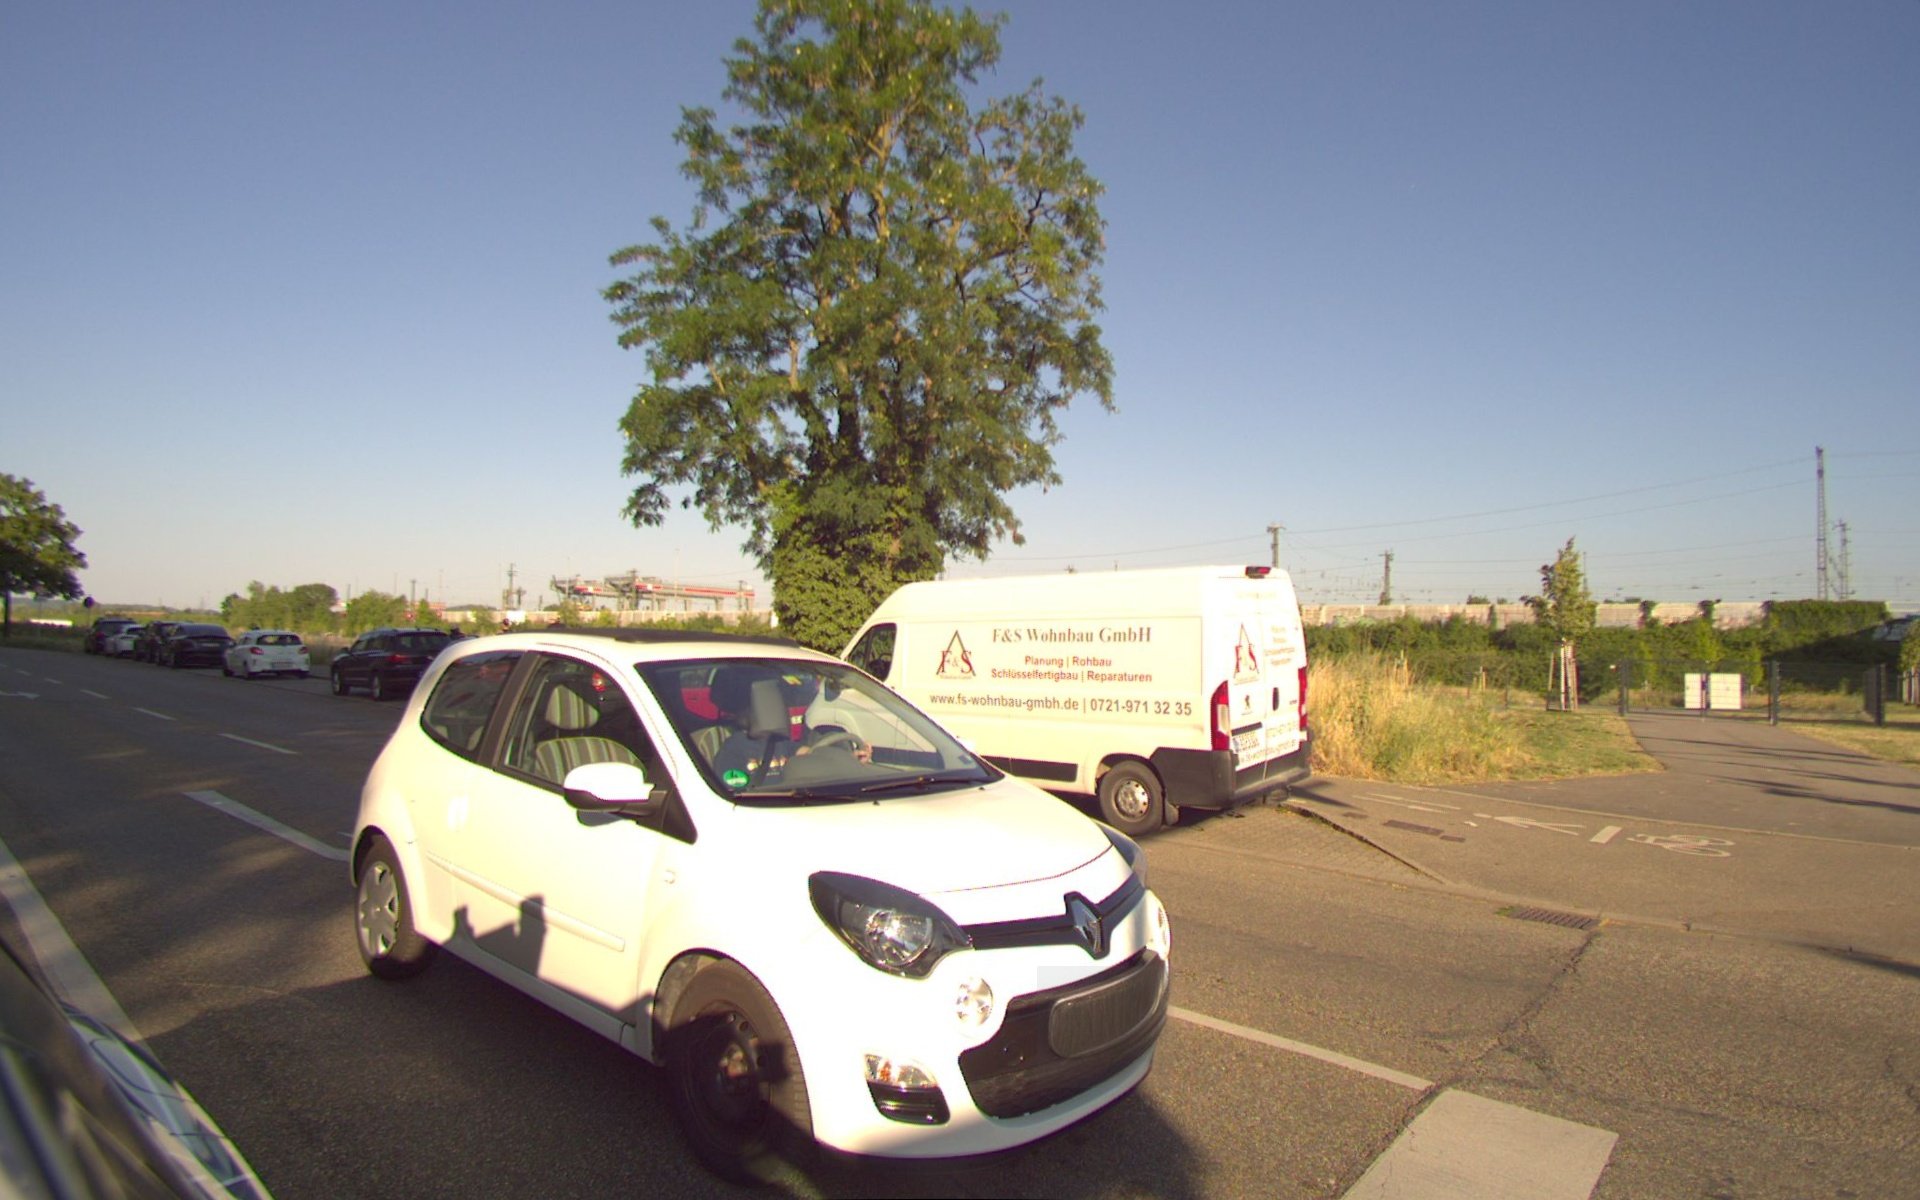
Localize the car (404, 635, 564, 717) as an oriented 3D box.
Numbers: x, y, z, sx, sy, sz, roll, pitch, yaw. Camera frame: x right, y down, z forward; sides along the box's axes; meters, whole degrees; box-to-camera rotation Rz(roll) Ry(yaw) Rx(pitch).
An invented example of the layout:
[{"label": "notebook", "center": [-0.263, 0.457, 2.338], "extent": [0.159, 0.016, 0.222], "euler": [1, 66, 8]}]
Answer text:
[{"label": "car", "center": [-10.009, 1.549, 21.198], "extent": [3.577, 1.541, 1.642], "euler": [-1, -4, 40]}]

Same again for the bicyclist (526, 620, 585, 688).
[{"label": "bicyclist", "center": [-9.838, 1.313, 24.621], "extent": [1.145, 1.609, 0.855], "euler": [-1, -4, 41]}]

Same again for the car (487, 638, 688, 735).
[{"label": "car", "center": [-6.794, 1.497, 18.319], "extent": [3.814, 1.541, 1.723], "euler": [-1, -4, 40]}]

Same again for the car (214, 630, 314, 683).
[{"label": "car", "center": [-21.552, 1.735, 31.295], "extent": [3.582, 1.538, 1.684], "euler": [-1, -4, 42]}]

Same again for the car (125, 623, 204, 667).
[{"label": "car", "center": [-32.375, 1.817, 41.154], "extent": [4.219, 1.650, 1.799], "euler": [-1, -4, 43]}]

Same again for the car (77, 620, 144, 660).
[{"label": "car", "center": [-40.831, 1.901, 48.613], "extent": [4.219, 1.789, 1.866], "euler": [-1, -4, 43]}]

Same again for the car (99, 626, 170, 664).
[{"label": "car", "center": [-36.461, 1.957, 44.665], "extent": [4.219, 1.586, 1.799], "euler": [-1, -4, 43]}]

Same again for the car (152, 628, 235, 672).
[{"label": "car", "center": [-28.226, 1.820, 37.232], "extent": [1.798, 1.538, 4.292], "euler": [5, -4, -45]}]

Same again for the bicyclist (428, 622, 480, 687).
[{"label": "bicyclist", "center": [-12.921, 1.392, 25.845], "extent": [1.146, 1.609, 0.758], "euler": [-1, -4, 43]}]

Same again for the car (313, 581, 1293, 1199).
[{"label": "car", "center": [-0.867, 0.774, 3.942], "extent": [3.772, 1.480, 1.683], "euler": [-1, -4, 40]}]

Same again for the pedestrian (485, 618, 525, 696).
[{"label": "pedestrian", "center": [-12.009, 1.496, 26.720], "extent": [0.729, 2.029, 0.608], "euler": [-1, -4, 39]}]

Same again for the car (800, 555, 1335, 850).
[{"label": "car", "center": [0.932, 0.895, 11.082], "extent": [5.556, 2.455, 2.207], "euler": [-1, -1, 40]}]

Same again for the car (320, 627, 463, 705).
[{"label": "car", "center": [-13.591, 1.528, 24.117], "extent": [4.003, 1.672, 1.642], "euler": [-1, -4, 40]}]

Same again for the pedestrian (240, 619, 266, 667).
[{"label": "pedestrian", "center": [-30.061, 1.837, 43.026], "extent": [0.710, 2.029, 0.697], "euler": [-1, -4, 42]}]

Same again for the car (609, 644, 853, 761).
[{"label": "car", "center": [-3.545, 1.475, 15.396], "extent": [3.692, 1.498, 1.723], "euler": [-1, -4, 40]}]
